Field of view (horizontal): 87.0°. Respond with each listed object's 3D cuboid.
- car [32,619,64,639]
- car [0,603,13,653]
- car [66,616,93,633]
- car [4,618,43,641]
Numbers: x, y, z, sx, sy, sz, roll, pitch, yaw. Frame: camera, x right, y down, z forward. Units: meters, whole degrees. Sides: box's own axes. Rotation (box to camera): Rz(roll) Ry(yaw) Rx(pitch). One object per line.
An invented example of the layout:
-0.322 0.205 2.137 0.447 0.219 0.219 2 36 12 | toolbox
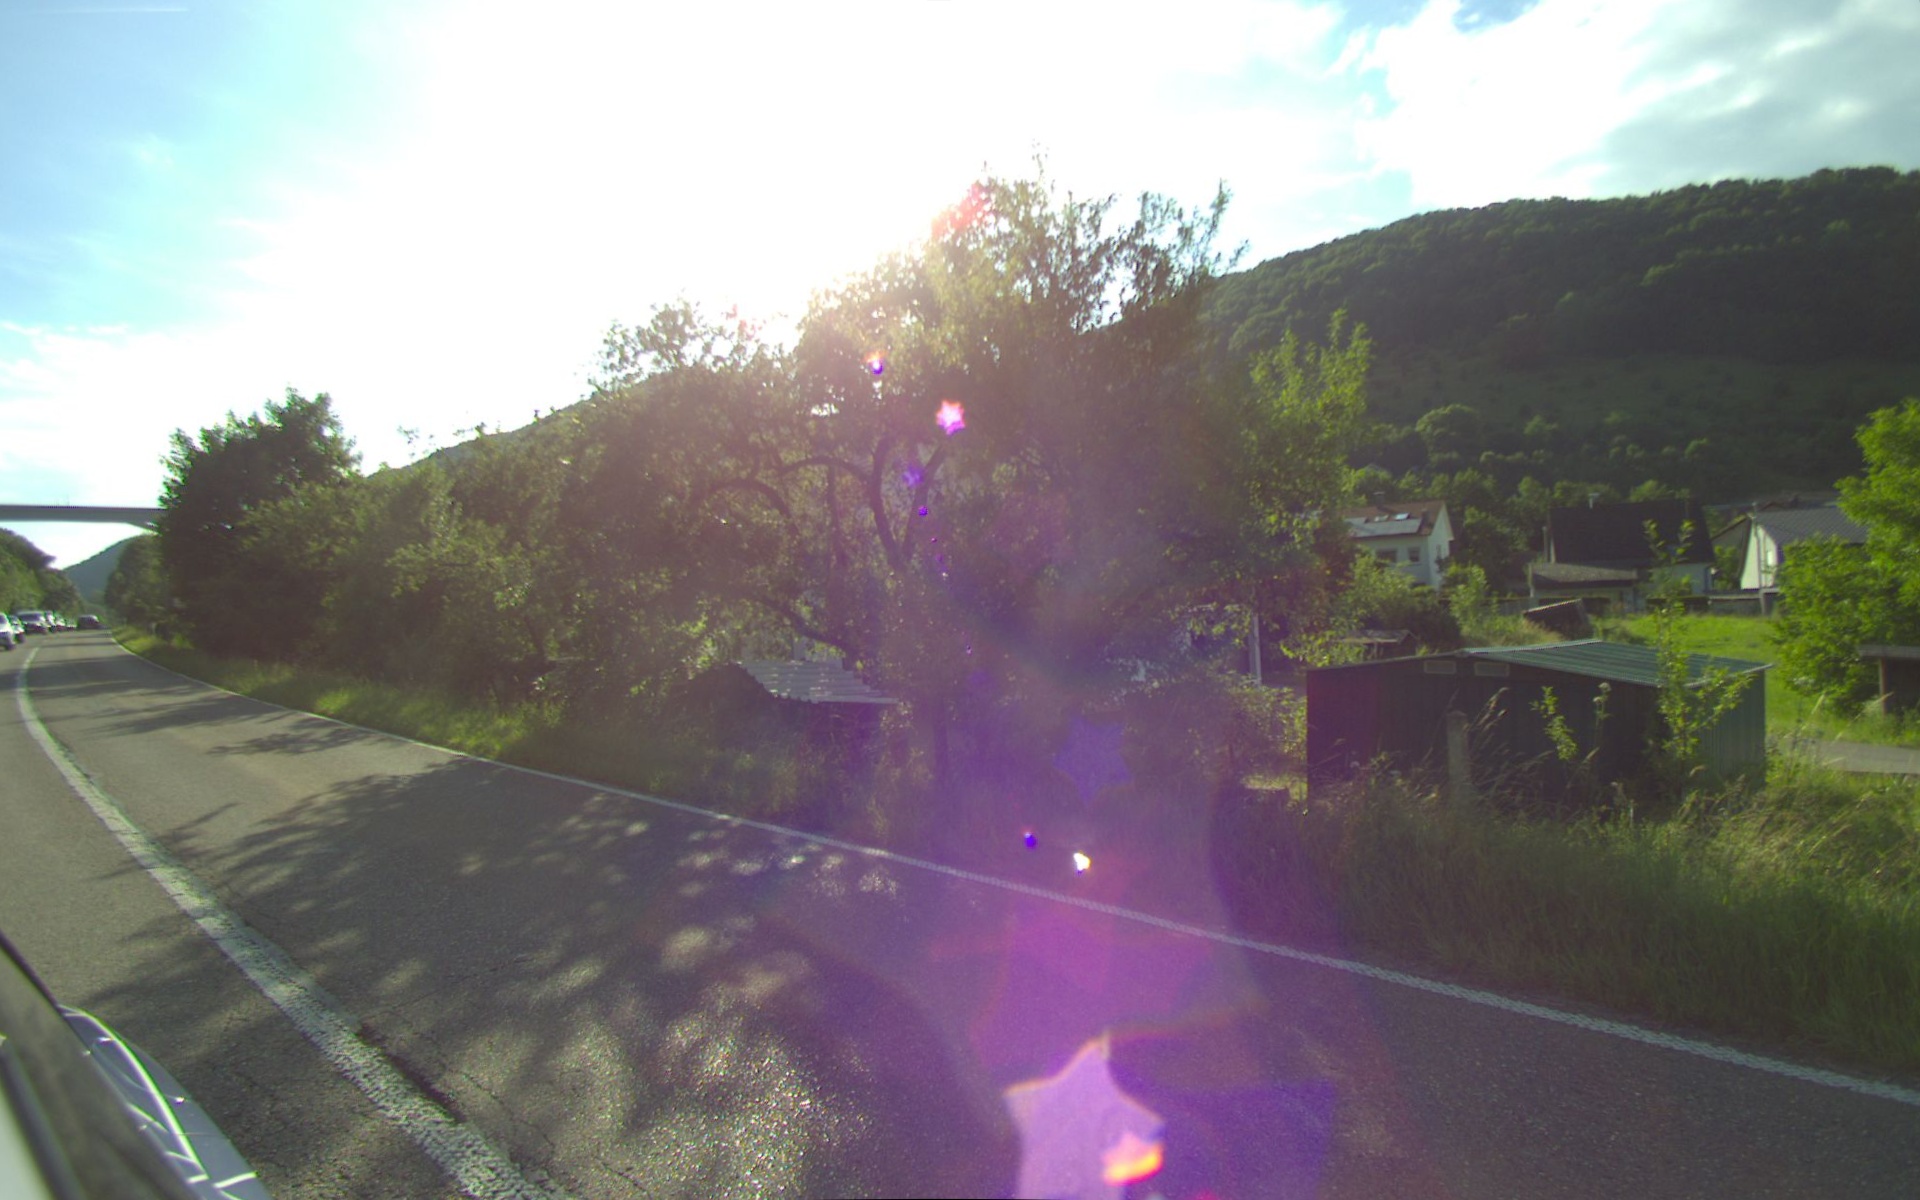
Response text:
-76.091 2.363 84.459 1.791 1.630 4.007 1 -2 -39 | car
-40.991 1.172 42.409 1.887 2.029 4.004 1 -2 -43 | car
-84.272 2.354 96.876 1.792 1.630 3.809 1 -2 -43 | car
-68.591 2.122 74.152 1.791 1.630 4.007 1 -2 -39 | car
